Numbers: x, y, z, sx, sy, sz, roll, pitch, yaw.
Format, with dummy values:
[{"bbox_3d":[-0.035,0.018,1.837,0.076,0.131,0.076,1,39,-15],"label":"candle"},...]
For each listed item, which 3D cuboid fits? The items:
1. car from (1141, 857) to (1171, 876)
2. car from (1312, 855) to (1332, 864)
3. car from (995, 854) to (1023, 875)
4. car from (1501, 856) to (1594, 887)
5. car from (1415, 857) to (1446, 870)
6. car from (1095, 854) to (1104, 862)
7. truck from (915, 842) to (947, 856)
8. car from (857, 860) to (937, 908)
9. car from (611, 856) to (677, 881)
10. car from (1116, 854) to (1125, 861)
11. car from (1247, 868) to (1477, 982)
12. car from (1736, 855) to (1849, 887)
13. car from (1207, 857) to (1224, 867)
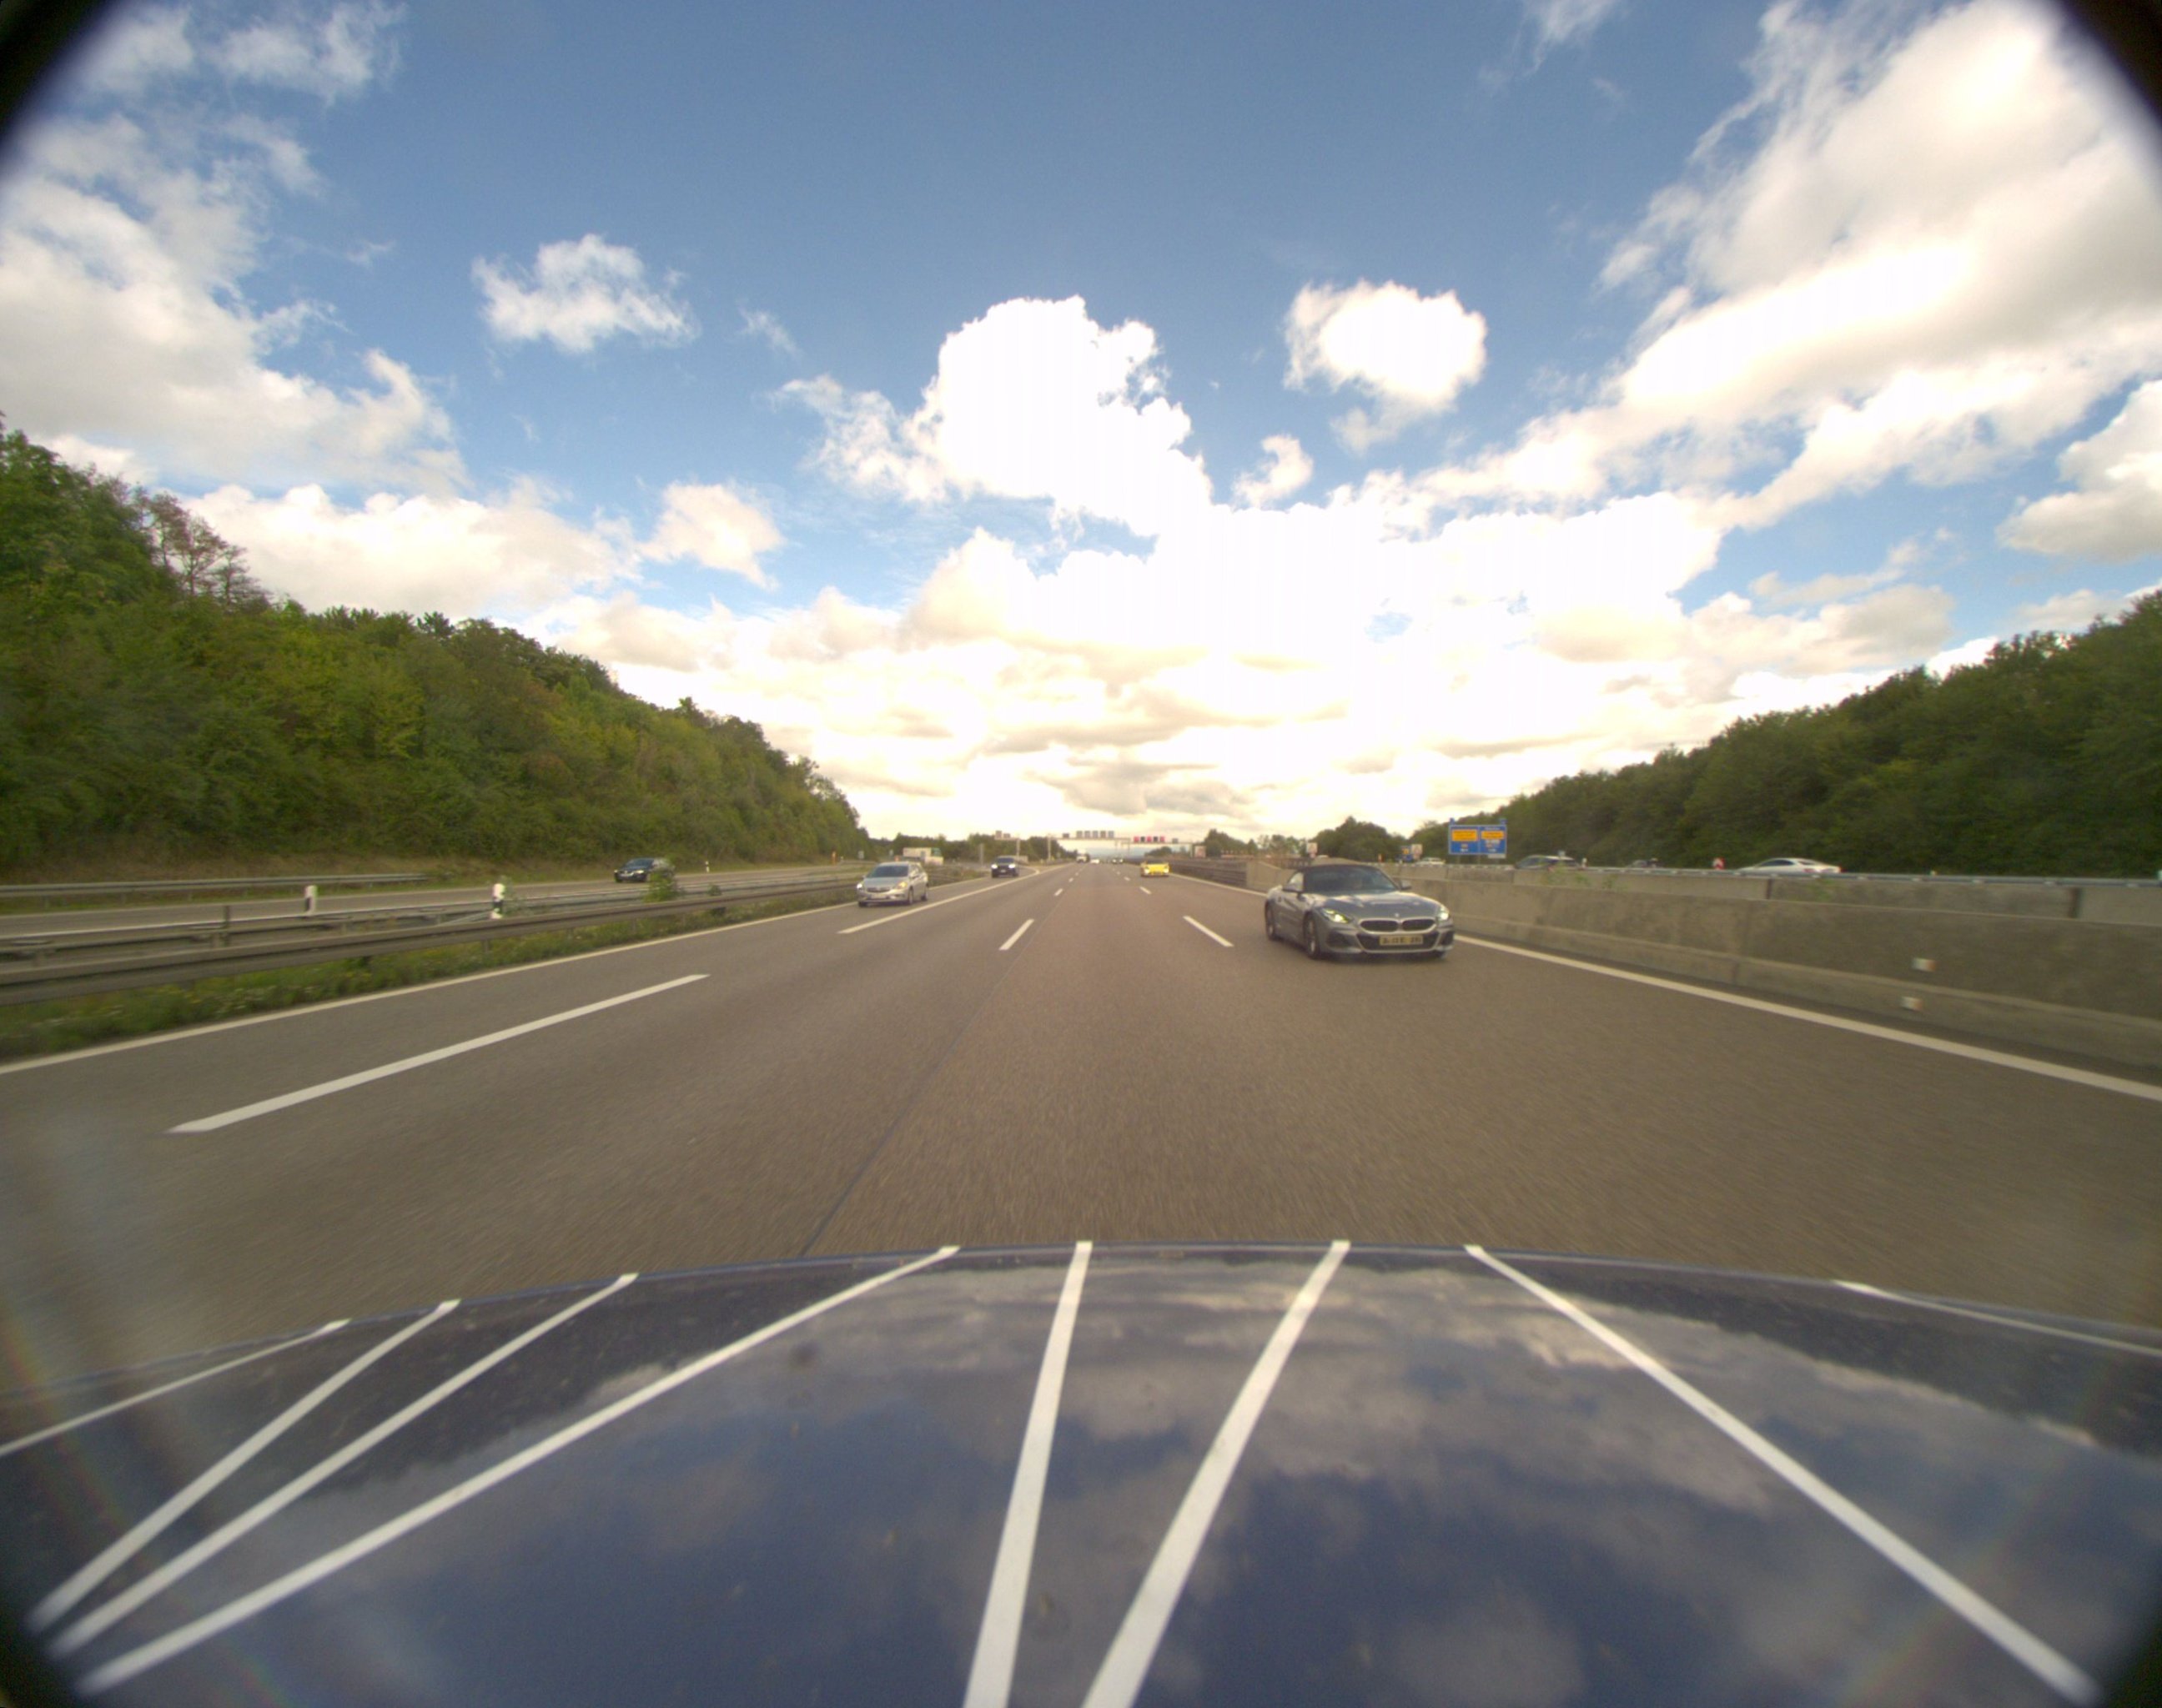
[{"bbox_3d":[5.353,0.878,54.648,1.811,1.307,4.247,1,0,1],"label":"car"},{"bbox_3d":[35.927,0.813,113.260,1.647,1.307,4.247,0,0,1],"label":"car"},{"bbox_3d":[-5.883,0.809,62.855,1.876,1.626,4.858,-1,0,-1],"label":"car"},{"bbox_3d":[20.990,0.756,34.407,1.647,1.307,4.247,0,0,1],"label":"car"},{"bbox_3d":[39.325,1.061,85.550,1.647,1.307,4.247,0,0,1],"label":"car"},{"bbox_3d":[3.664,0.769,153.069,1.736,1.608,4.000,0,0,1],"label":"car"},{"bbox_3d":[-44.910,-1.388,227.141,2.975,3.775,13.425,-1,0,-40],"label":"truck"},{"bbox_3d":[-6.471,0.998,27.253,1.687,1.476,4.616,-1,0,0],"label":"car"},{"bbox_3d":[-25.577,0.817,44.608,1.717,1.407,4.167,0,0,-4],"label":"car"},{"bbox_3d":[7.775,0.604,149.074,1.593,1.307,3.978,1,0,1],"label":"car"},{"bbox_3d":[4.090,0.947,12.079,1.878,1.295,4.942,-1,0,1],"label":"car"},{"bbox_3d":[35.192,0.794,37.764,1.680,1.508,4.369,0,0,3],"label":"car"},{"bbox_3d":[19.133,1.086,107.994,1.646,1.307,4.247,1,0,1],"label":"car"}]
